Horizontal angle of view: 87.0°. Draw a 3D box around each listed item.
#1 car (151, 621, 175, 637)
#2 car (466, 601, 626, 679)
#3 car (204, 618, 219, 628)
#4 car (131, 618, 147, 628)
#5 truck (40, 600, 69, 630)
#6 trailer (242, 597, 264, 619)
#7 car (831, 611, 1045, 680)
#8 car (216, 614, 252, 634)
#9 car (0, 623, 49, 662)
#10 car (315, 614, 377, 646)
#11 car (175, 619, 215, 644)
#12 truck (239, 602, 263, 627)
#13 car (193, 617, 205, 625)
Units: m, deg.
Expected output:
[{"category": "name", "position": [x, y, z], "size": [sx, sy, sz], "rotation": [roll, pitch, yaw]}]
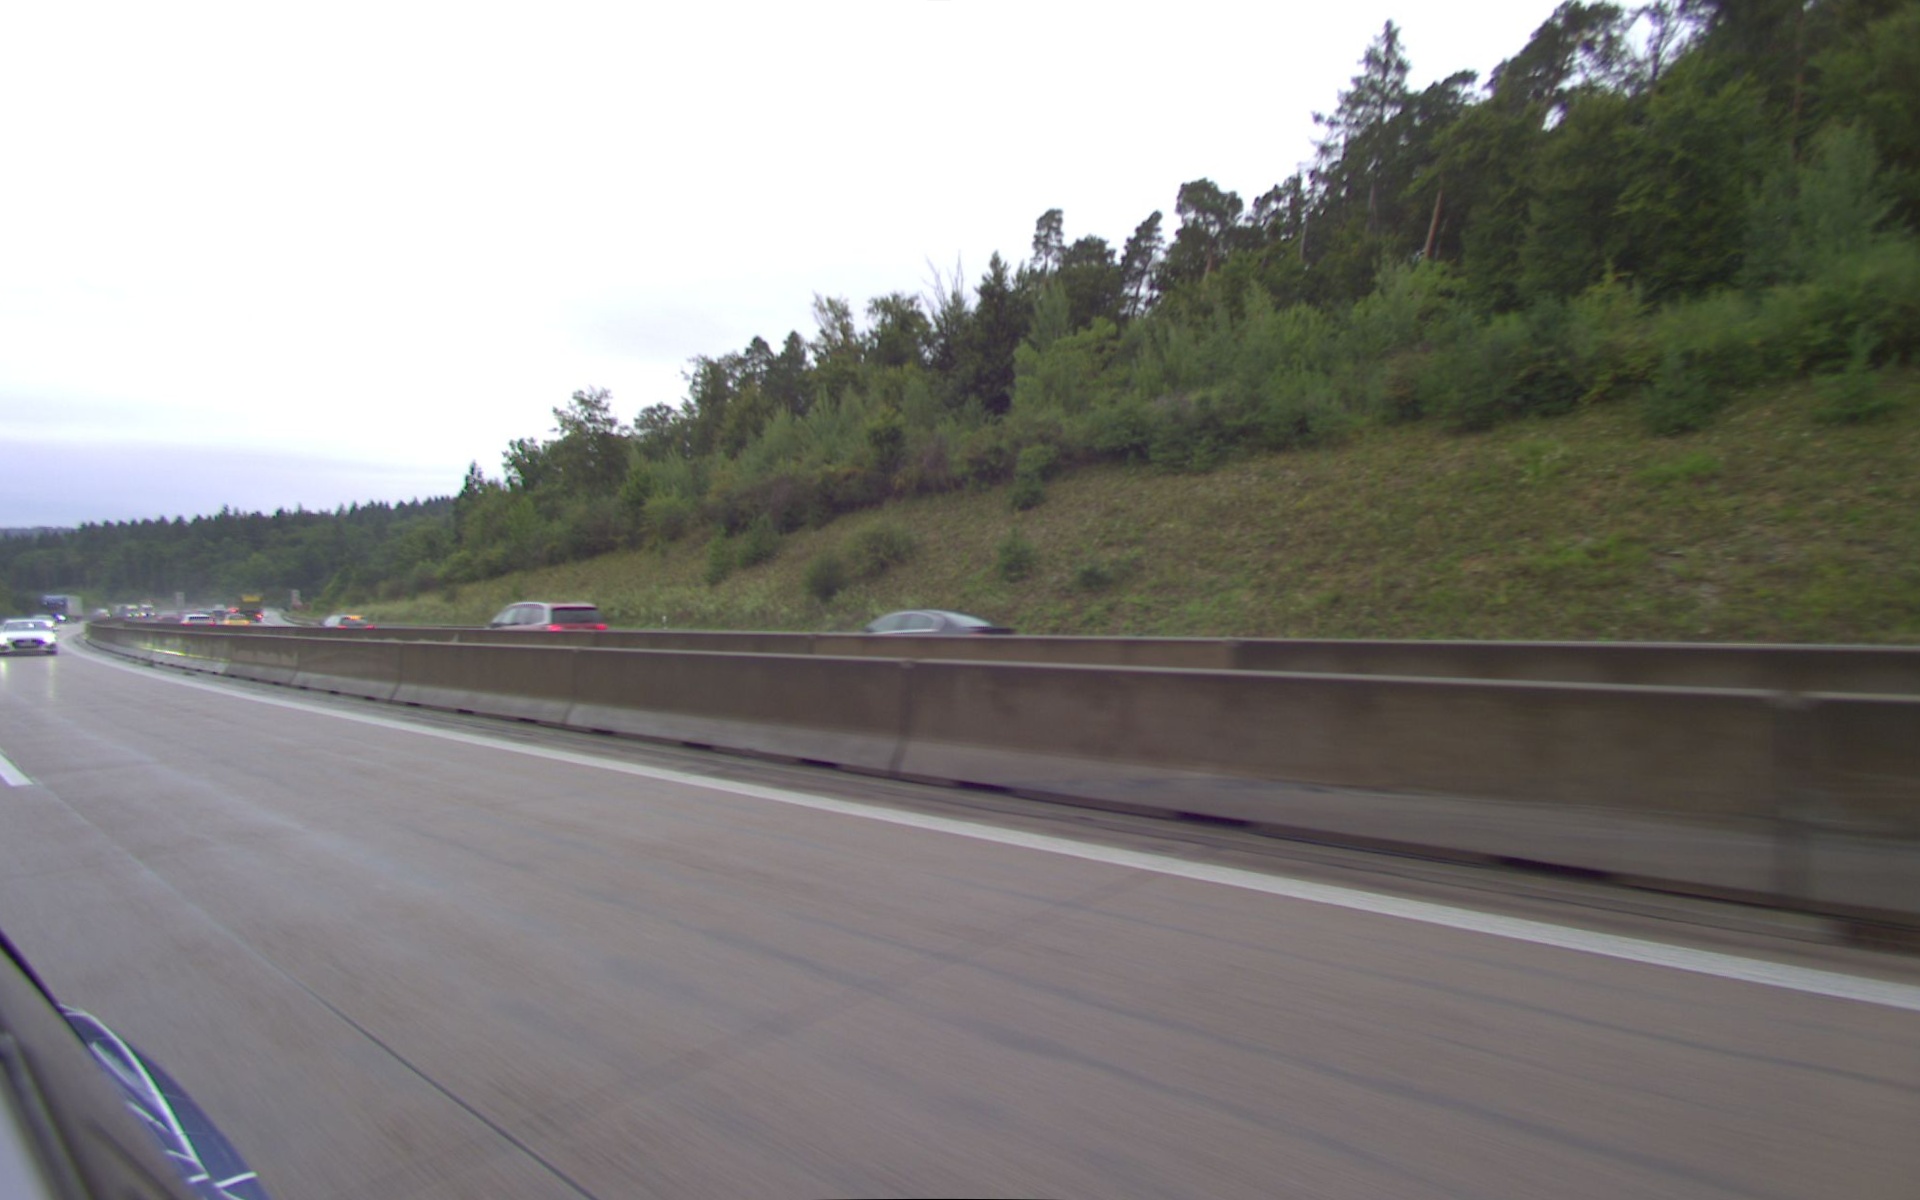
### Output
[{"category": "car", "position": [-80.158, 2.921, 101.808], "size": [1.841, 1.560, 4.007], "rotation": [0, -1, -39]}, {"category": "car", "position": [-10.440, 0.954, 25.366], "size": [4.536, 1.781, 1.972], "rotation": [-1, -1, 42]}, {"category": "car", "position": [-110.664, 3.370, 149.620], "size": [1.781, 1.356, 4.776], "rotation": [-1, 0, -38]}, {"category": "car", "position": [-118.515, 3.355, 146.147], "size": [1.633, 1.356, 4.092], "rotation": [-1, 0, -41]}, {"category": "truck", "position": [-131.351, 2.184, 146.884], "size": [2.696, 4.183, 8.637], "rotation": [-1, -1, -39]}, {"category": "trailer", "position": [-129.295, 1.481, 184.937], "size": [2.975, 3.904, 13.731], "rotation": [-1, 0, -37]}, {"category": "car", "position": [-0.526, 0.903, 21.236], "size": [4.295, 1.303, 1.973], "rotation": [-1, -1, 41]}, {"category": "car", "position": [-58.664, 1.959, 81.731], "size": [1.721, 1.573, 4.286], "rotation": [0, -1, -44]}, {"category": "car", "position": [-37.463, 1.678, 40.317], "size": [1.692, 1.418, 4.941], "rotation": [-1, -1, -42]}, {"category": "car", "position": [-30.830, 1.491, 50.738], "size": [4.283, 1.498, 1.557], "rotation": [-2, -1, 43]}, {"category": "car", "position": [-49.866, 2.017, 65.970], "size": [1.720, 1.573, 4.288], "rotation": [0, -1, -42]}, {"category": "truck", "position": [-97.444, 1.982, 139.215], "size": [2.587, 3.321, 9.406], "rotation": [0, -1, -35]}, {"category": "car", "position": [-133.783, 3.655, 177.906], "size": [1.632, 1.356, 4.094], "rotation": [-1, 0, -38]}]
